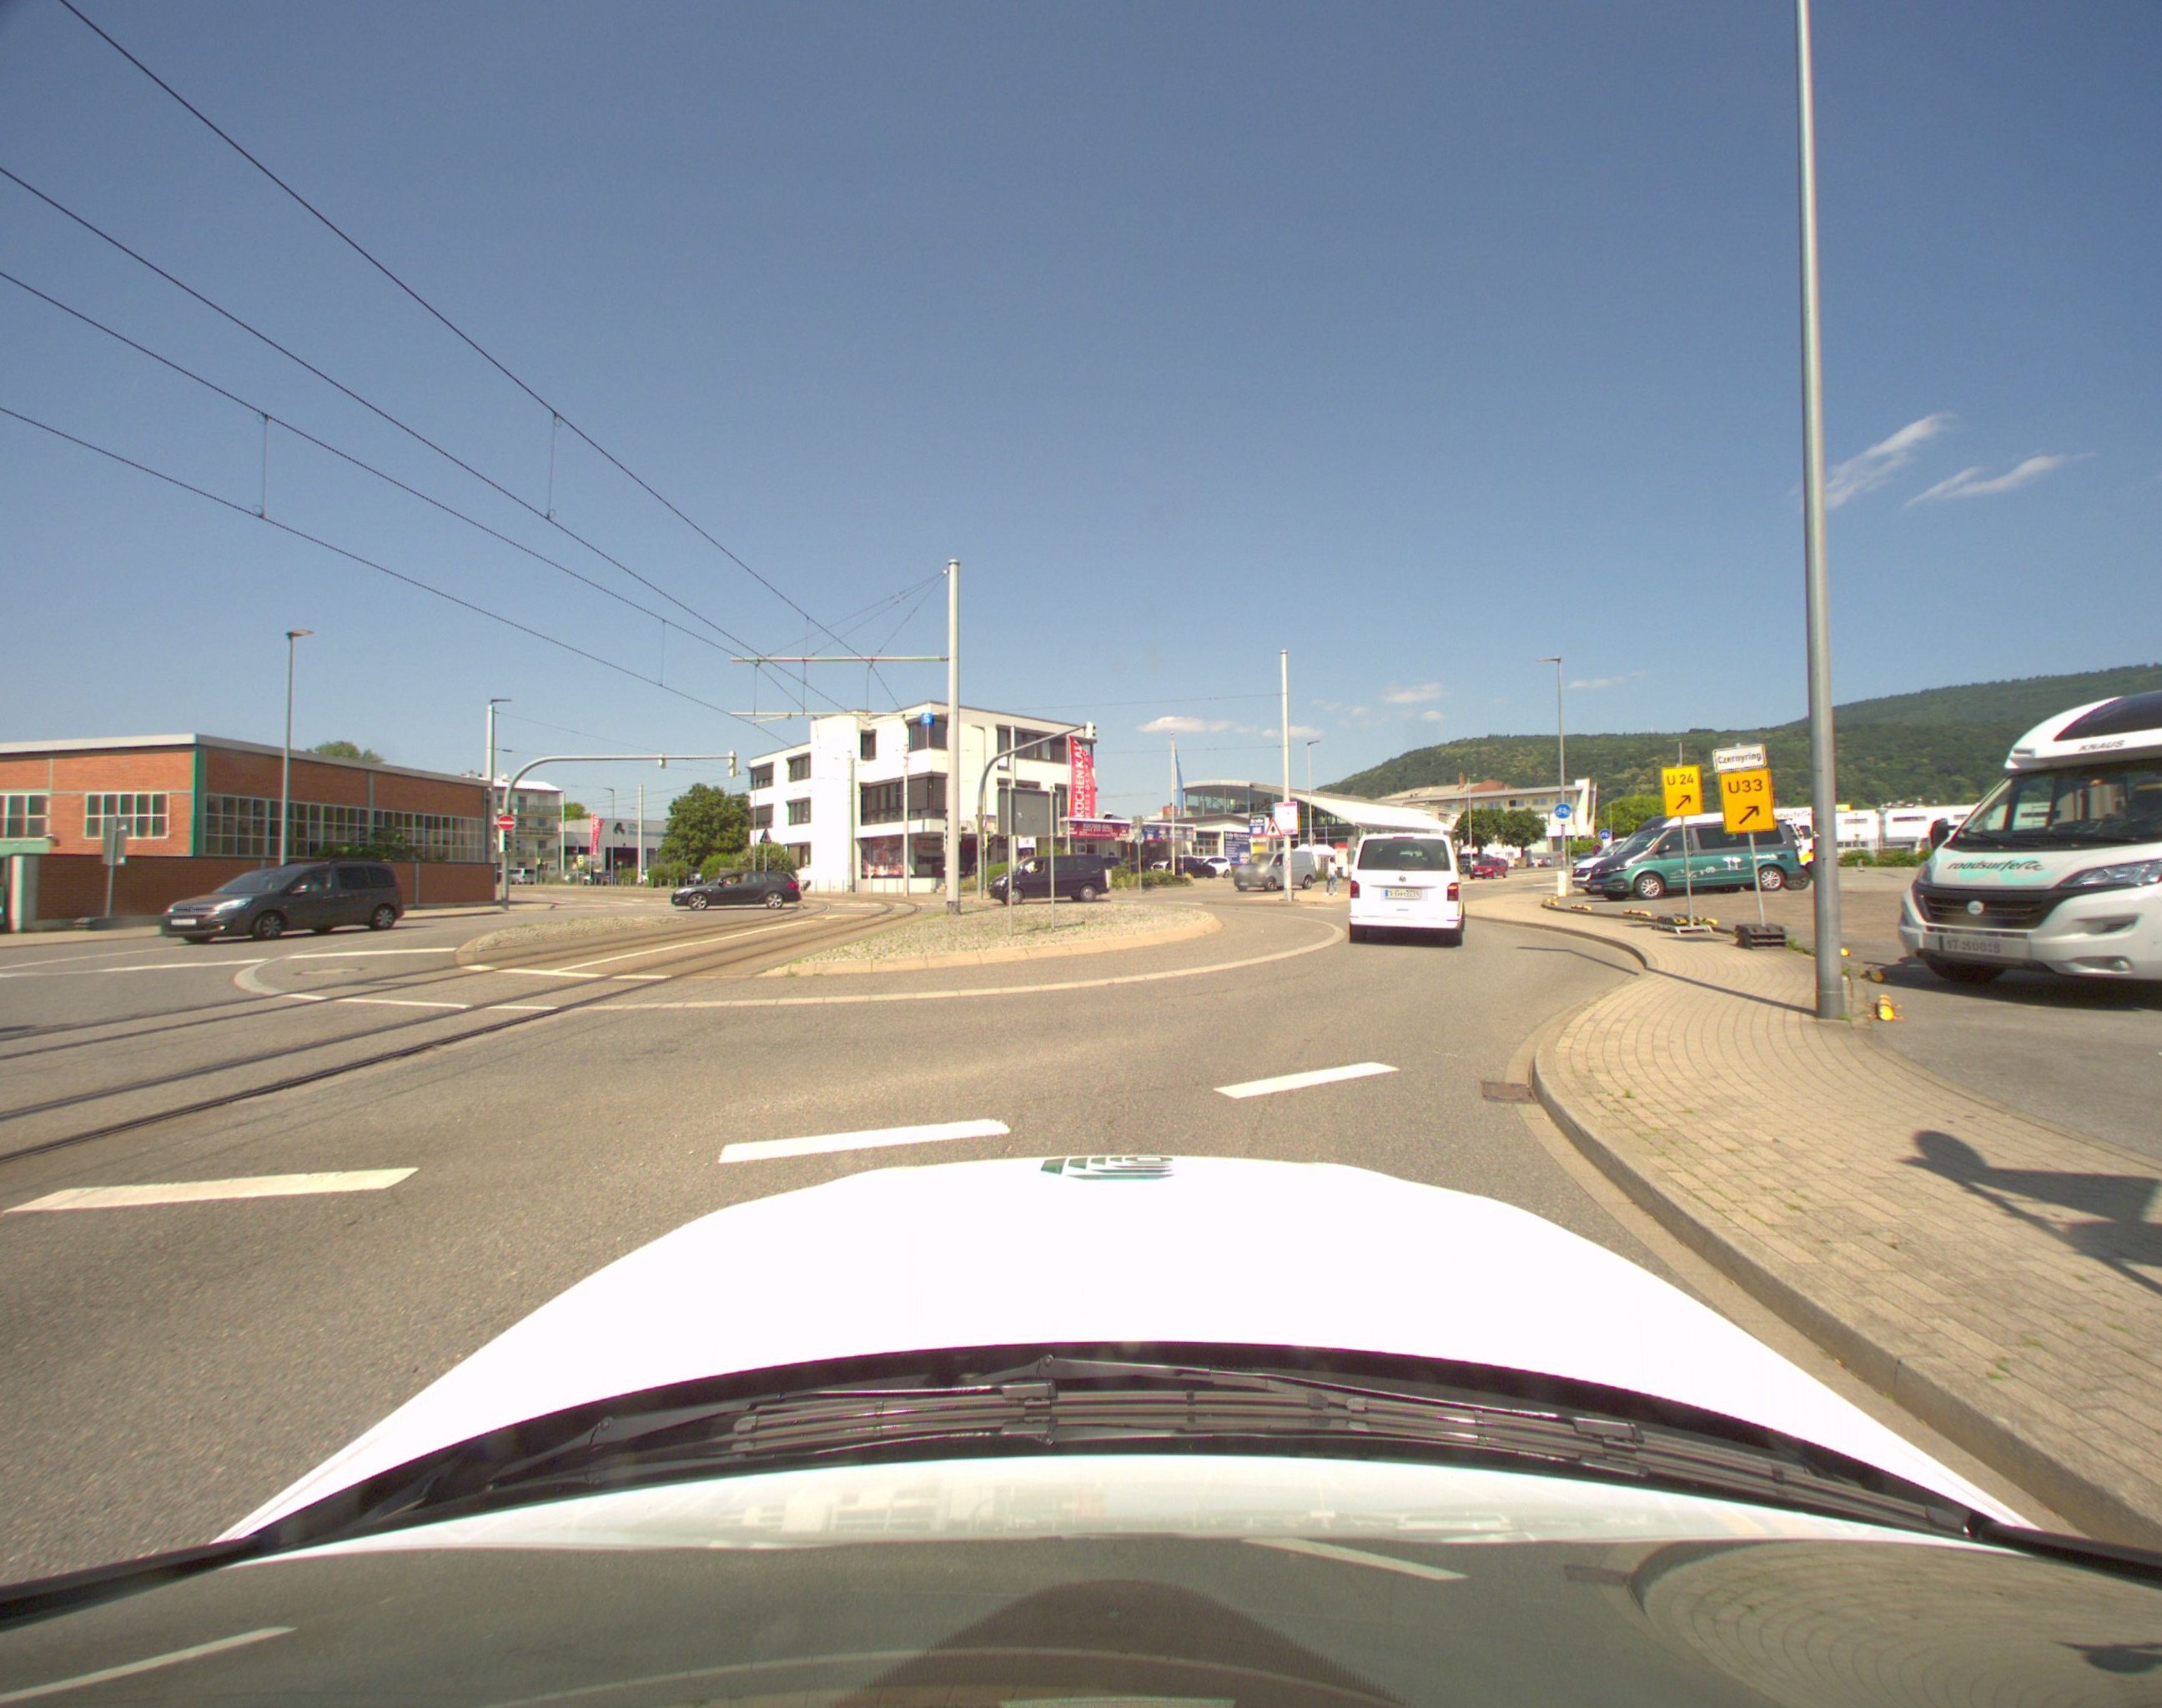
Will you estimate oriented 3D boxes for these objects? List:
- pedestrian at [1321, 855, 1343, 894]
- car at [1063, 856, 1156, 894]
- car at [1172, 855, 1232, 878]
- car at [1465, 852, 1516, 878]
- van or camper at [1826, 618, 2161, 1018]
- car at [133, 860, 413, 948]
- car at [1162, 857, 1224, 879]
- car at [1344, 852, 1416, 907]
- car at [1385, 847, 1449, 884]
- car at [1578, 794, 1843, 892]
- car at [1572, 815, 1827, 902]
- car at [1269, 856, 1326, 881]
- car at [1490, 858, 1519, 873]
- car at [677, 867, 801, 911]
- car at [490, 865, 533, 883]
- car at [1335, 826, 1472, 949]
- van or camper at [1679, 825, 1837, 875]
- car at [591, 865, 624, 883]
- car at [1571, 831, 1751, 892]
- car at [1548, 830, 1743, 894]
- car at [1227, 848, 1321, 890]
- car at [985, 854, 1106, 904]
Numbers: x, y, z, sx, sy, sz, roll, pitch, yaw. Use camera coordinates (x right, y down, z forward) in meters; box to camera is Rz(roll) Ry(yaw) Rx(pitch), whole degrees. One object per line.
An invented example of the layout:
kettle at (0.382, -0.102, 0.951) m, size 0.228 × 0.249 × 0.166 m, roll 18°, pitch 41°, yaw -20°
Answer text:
pedestrian at (10.828, 0.862, 35.138) m, size 0.756 × 1.656 × 0.673 m, roll -1°, pitch -1°, yaw 2°
car at (1.640, 1.098, 44.854) m, size 5.310 × 1.966 × 1.942 m, roll 0°, pitch -1°, yaw -43°
car at (8.964, 0.915, 59.986) m, size 1.862 × 1.589 × 4.958 m, roll -4°, pitch -3°, yaw 43°
car at (29.872, 0.788, 59.334) m, size 2.002 × 1.838 × 4.898 m, roll -2°, pitch -1°, yaw 43°
van or camper at (11.243, -0.398, 7.208) m, size 7.039 × 2.946 × 2.334 m, roll -3°, pitch -2°, yaw 0°
car at (-18.819, 1.083, 19.325) m, size 1.973 × 1.818 × 4.417 m, roll -1°, pitch -1°, yaw 6°
car at (7.584, 0.944, 55.068) m, size 2.007 × 1.427 × 4.343 m, roll -1°, pitch -1°, yaw 43°
car at (10.232, 0.826, 28.127) m, size 1.978 × 1.733 × 4.583 m, roll -1°, pitch -1°, yaw 16°
car at (20.540, 0.635, 49.631) m, size 2.002 × 2.114 × 4.964 m, roll -1°, pitch 0°, yaw 43°
car at (19.251, -0.278, 25.222) m, size 6.103 × 2.717 × 2.312 m, roll -2°, pitch -1°, yaw 8°
car at (16.699, 0.141, 22.250) m, size 5.184 × 2.113 × 2.101 m, roll -1°, pitch -1°, yaw 6°
car at (14.481, 0.954, 54.450) m, size 1.975 × 1.618 × 4.024 m, roll -2°, pitch -1°, yaw 43°
car at (44.384, 1.205, 85.455) m, size 1.734 × 1.585 × 3.672 m, roll -1°, pitch -1°, yaw 11°
car at (-13.072, 1.320, 31.345) m, size 4.245 × 1.556 × 1.955 m, roll 0°, pitch -2°, yaw -22°
car at (-67.438, 2.357, 96.441) m, size 3.956 × 2.014 × 2.009 m, roll -3°, pitch -2°, yaw 16°
car at (6.419, 0.544, 16.088) m, size 2.143 × 2.013 × 5.046 m, roll 1°, pitch 0°, yaw 23°
van or camper at (37.578, -0.150, 45.361) m, size 2.991 × 2.561 × 6.444 m, roll 0°, pitch -1°, yaw -44°
car at (-51.538, 2.164, 88.670) m, size 3.949 × 1.783 × 2.012 m, roll -4°, pitch -2°, yaw 42°
car at (21.571, 0.295, 30.528) m, size 5.096 × 2.014 × 1.938 m, roll -2°, pitch -1°, yaw 14°
car at (19.348, 0.300, 28.163) m, size 5.111 × 2.000 × 2.030 m, roll -2°, pitch -2°, yaw 10°
car at (9.614, 0.720, 40.323) m, size 4.852 × 1.935 × 1.911 m, roll 0°, pitch -1°, yaw -38°
car at (-1.479, 0.972, 33.346) m, size 4.633 × 1.910 × 2.087 m, roll -1°, pitch 0°, yaw -16°
